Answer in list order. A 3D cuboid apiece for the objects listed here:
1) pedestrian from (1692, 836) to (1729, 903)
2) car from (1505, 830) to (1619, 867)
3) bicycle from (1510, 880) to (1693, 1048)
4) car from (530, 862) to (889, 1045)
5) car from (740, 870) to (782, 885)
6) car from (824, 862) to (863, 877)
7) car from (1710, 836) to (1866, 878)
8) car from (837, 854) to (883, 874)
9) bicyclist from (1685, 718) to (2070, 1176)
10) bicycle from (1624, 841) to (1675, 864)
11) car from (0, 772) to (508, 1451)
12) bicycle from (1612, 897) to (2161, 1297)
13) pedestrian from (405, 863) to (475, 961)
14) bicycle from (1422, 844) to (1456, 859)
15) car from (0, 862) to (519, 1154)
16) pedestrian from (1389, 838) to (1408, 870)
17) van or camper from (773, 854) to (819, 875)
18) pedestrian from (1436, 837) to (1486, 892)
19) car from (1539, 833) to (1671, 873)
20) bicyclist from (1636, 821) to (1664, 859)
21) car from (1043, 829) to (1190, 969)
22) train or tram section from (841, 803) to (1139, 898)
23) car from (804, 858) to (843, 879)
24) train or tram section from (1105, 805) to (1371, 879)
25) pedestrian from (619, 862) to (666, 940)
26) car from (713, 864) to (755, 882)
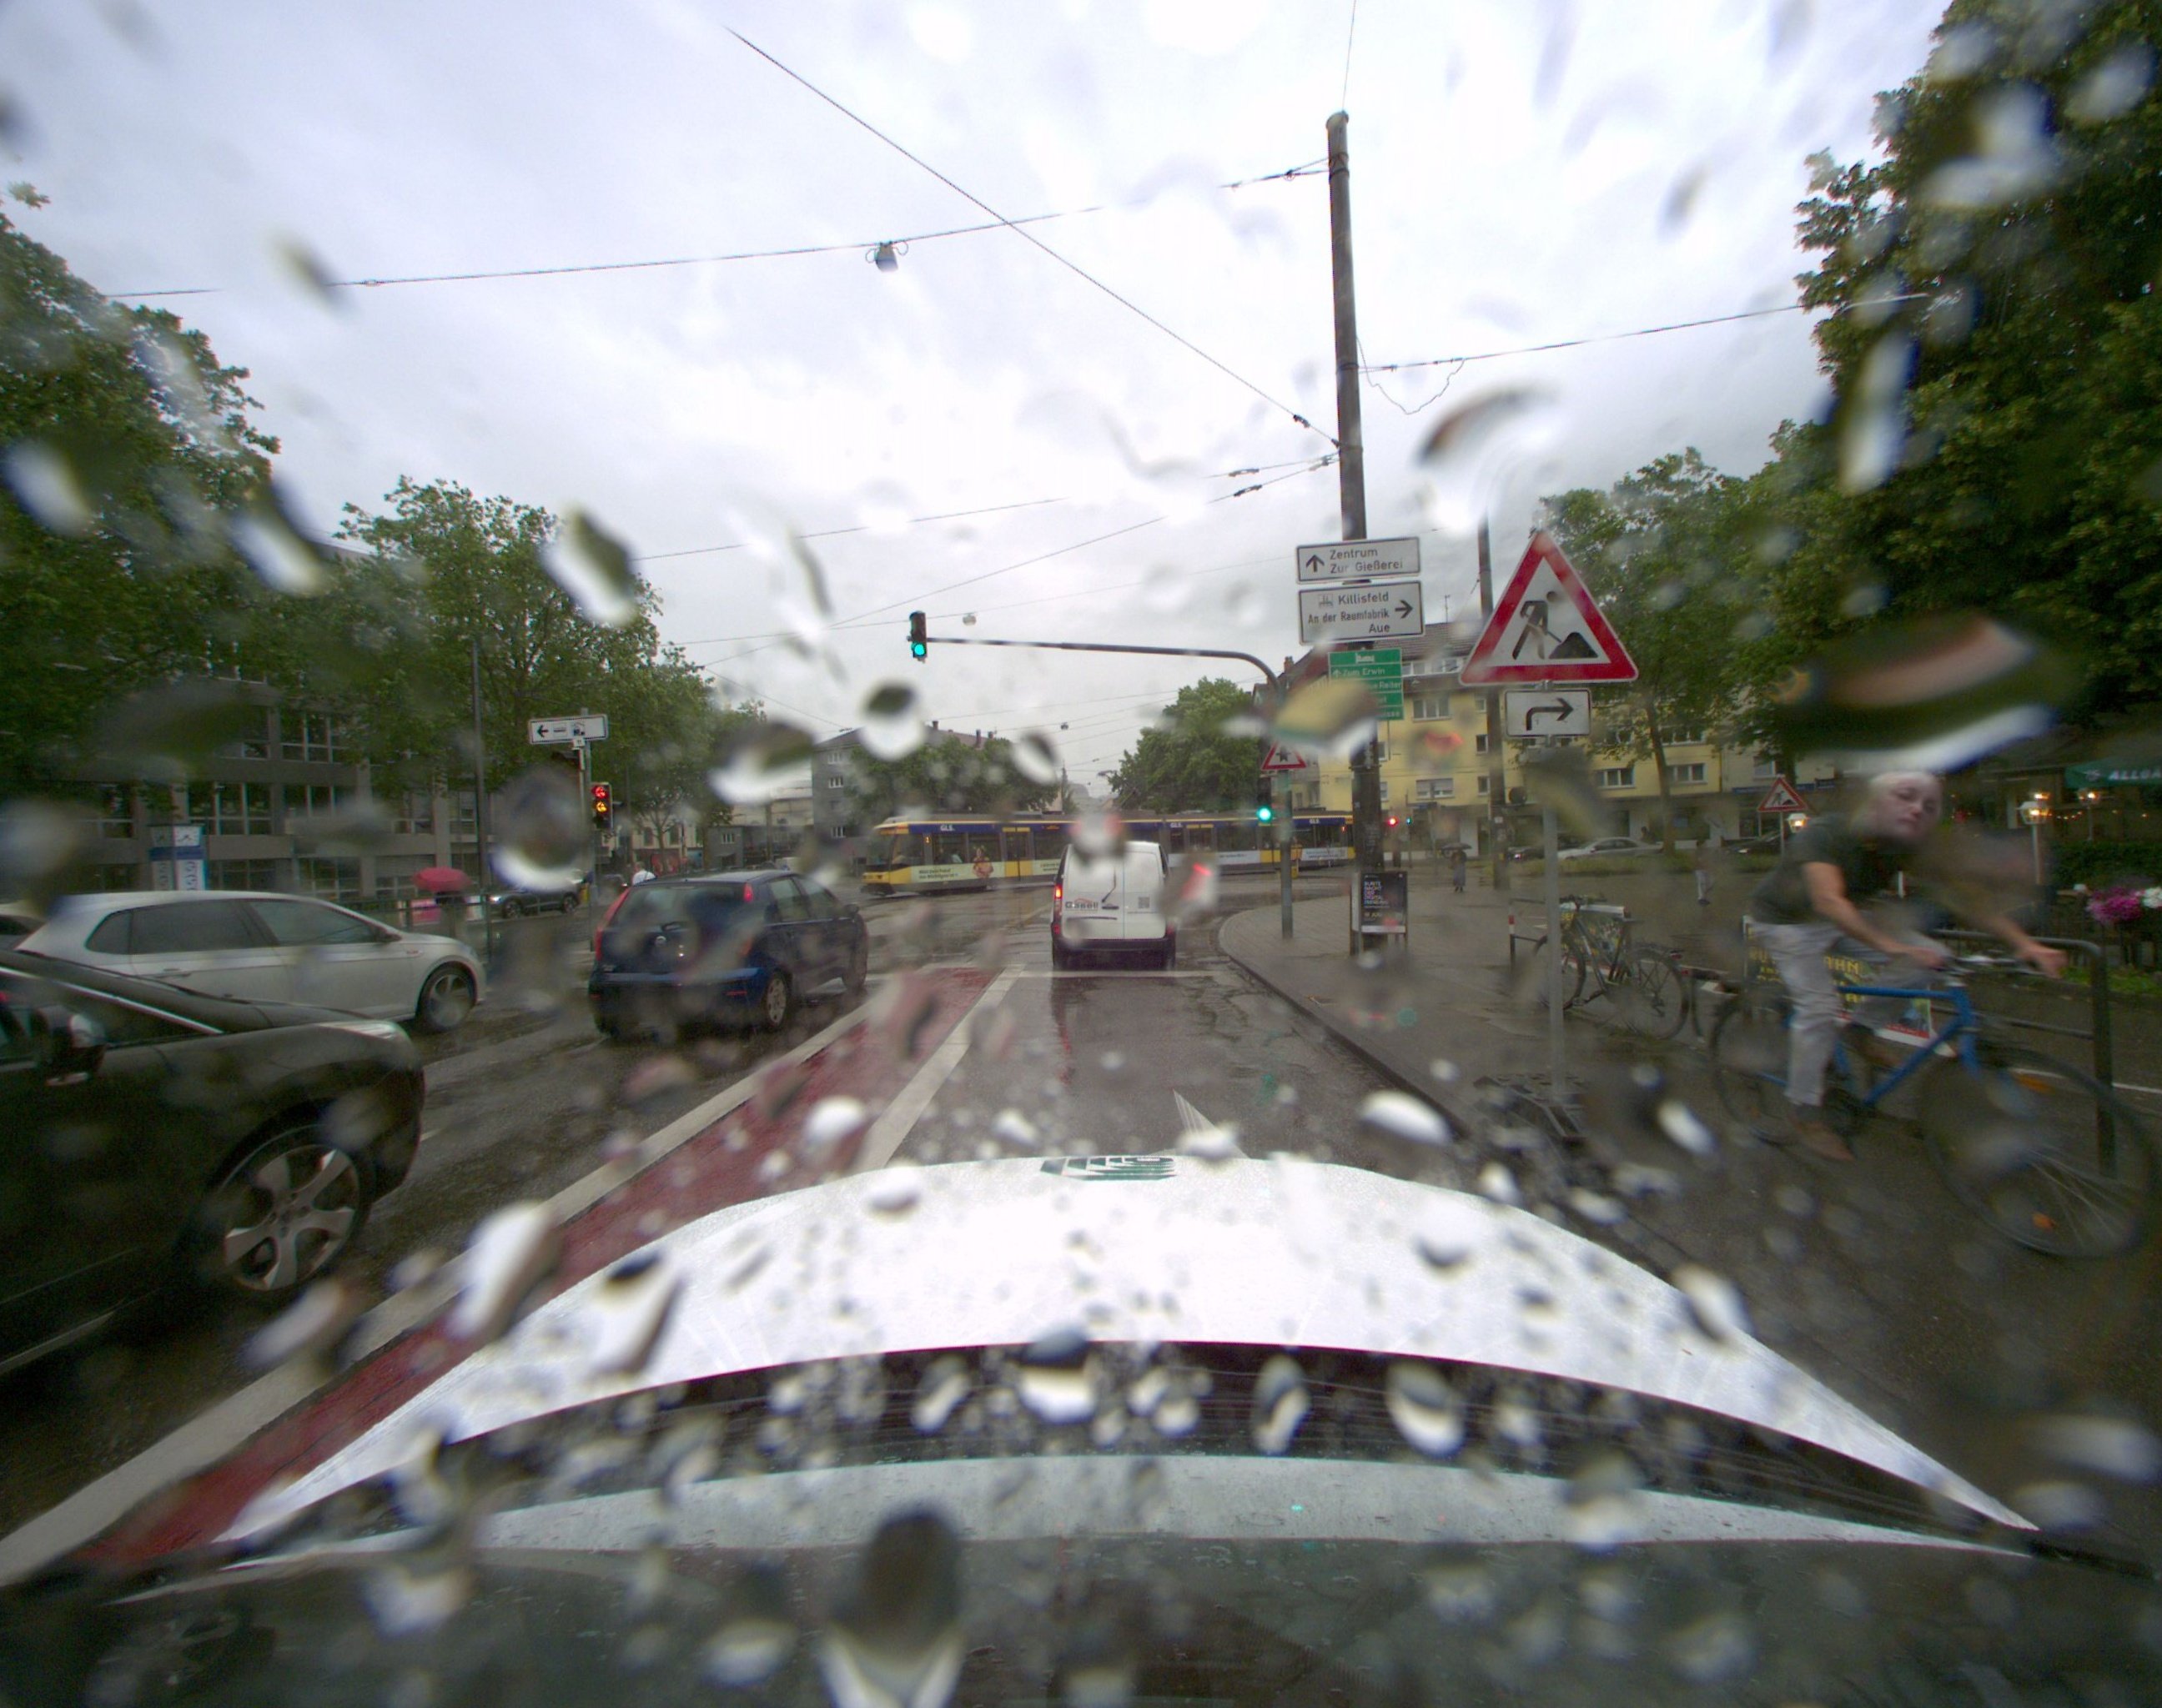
[{"bbox_3d":[16.068,0.387,20.790,0.546,1.644,0.389,-4,0,3],"label":"pedestrian"},{"bbox_3d":[22.648,-0.267,38.500,4.243,1.501,1.885,-2,1,10],"label":"car"},{"bbox_3d":[4.352,0.850,6.972,0.420,1.168,1.793,0,1,0],"label":"bicycle"},{"bbox_3d":[-3.533,0.841,8.642,1.875,1.459,3.834,-1,0,3],"label":"car"},{"bbox_3d":[-35.616,2.628,90.664,1.975,1.614,4.023,-2,-2,27],"label":"car"},{"bbox_3d":[-25.536,1.664,87.697,1.933,1.625,4.020,-1,-1,20],"label":"car"},{"bbox_3d":[29.496,0.117,34.144,4.590,1.485,1.871,-2,2,15],"label":"car"},{"bbox_3d":[-23.248,1.022,85.846,2.041,2.013,4.426,-1,1,32],"label":"car"},{"bbox_3d":[3.268,0.332,3.439,0.734,1.655,0.876,-2,1,-3],"label":"bicyclist"},{"bbox_3d":[26.537,-0.062,38.055,1.798,1.031,0.722,-1,1,12],"label":"bicycle"},{"bbox_3d":[-3.653,0.674,1.666,1.794,1.709,4.194,-1,1,3],"label":"car"},{"bbox_3d":[3.278,0.802,3.461,0.736,1.072,1.865,-3,1,-3],"label":"bicycle"},{"bbox_3d":[-11.966,1.049,15.240,0.954,1.711,0.820,-3,1,-37],"label":"pedestrian"},{"bbox_3d":[23.992,-0.174,54.566,2.024,0.897,0.616,-2,0,16],"label":"bicycle"},{"bbox_3d":[-6.893,0.922,6.426,1.799,1.536,4.194,-2,1,3],"label":"car"},{"bbox_3d":[16.859,-0.011,43.221,0.804,1.677,1.023,-2,0,28],"label":"pedestrian"},{"bbox_3d":[-30.904,1.108,88.429,1.975,2.075,4.682,-2,0,25],"label":"van or camper"},{"bbox_3d":[11.976,0.318,25.693,1.098,1.666,0.998,-1,1,1],"label":"pedestrian"},{"bbox_3d":[22.601,-0.051,35.304,4.452,1.489,1.747,-2,1,15],"label":"car"},{"bbox_3d":[26.580,-0.651,38.051,0.881,1.716,0.717,-1,1,12],"label":"bicyclist"},{"bbox_3d":[0.488,0.609,12.795,1.897,1.797,4.113,-1,0,1],"label":"car"},{"bbox_3d":[-3.359,-0.319,36.800,3.077,3.558,14.665,0,1,45],"label":"train or tram section"},{"bbox_3d":[-27.865,1.581,88.252,1.977,2.013,4.019,-2,1,18],"label":"car"},{"bbox_3d":[8.743,-0.760,44.476,14.672,3.558,3.096,-2,1,-19],"label":"train or tram section"},{"bbox_3d":[-9.472,0.991,17.593,0.739,1.610,0.710,-3,1,-37],"label":"pedestrian"},{"bbox_3d":[-39.506,2.107,92.701,1.974,2.014,4.025,-1,-1,31],"label":"car"}]
